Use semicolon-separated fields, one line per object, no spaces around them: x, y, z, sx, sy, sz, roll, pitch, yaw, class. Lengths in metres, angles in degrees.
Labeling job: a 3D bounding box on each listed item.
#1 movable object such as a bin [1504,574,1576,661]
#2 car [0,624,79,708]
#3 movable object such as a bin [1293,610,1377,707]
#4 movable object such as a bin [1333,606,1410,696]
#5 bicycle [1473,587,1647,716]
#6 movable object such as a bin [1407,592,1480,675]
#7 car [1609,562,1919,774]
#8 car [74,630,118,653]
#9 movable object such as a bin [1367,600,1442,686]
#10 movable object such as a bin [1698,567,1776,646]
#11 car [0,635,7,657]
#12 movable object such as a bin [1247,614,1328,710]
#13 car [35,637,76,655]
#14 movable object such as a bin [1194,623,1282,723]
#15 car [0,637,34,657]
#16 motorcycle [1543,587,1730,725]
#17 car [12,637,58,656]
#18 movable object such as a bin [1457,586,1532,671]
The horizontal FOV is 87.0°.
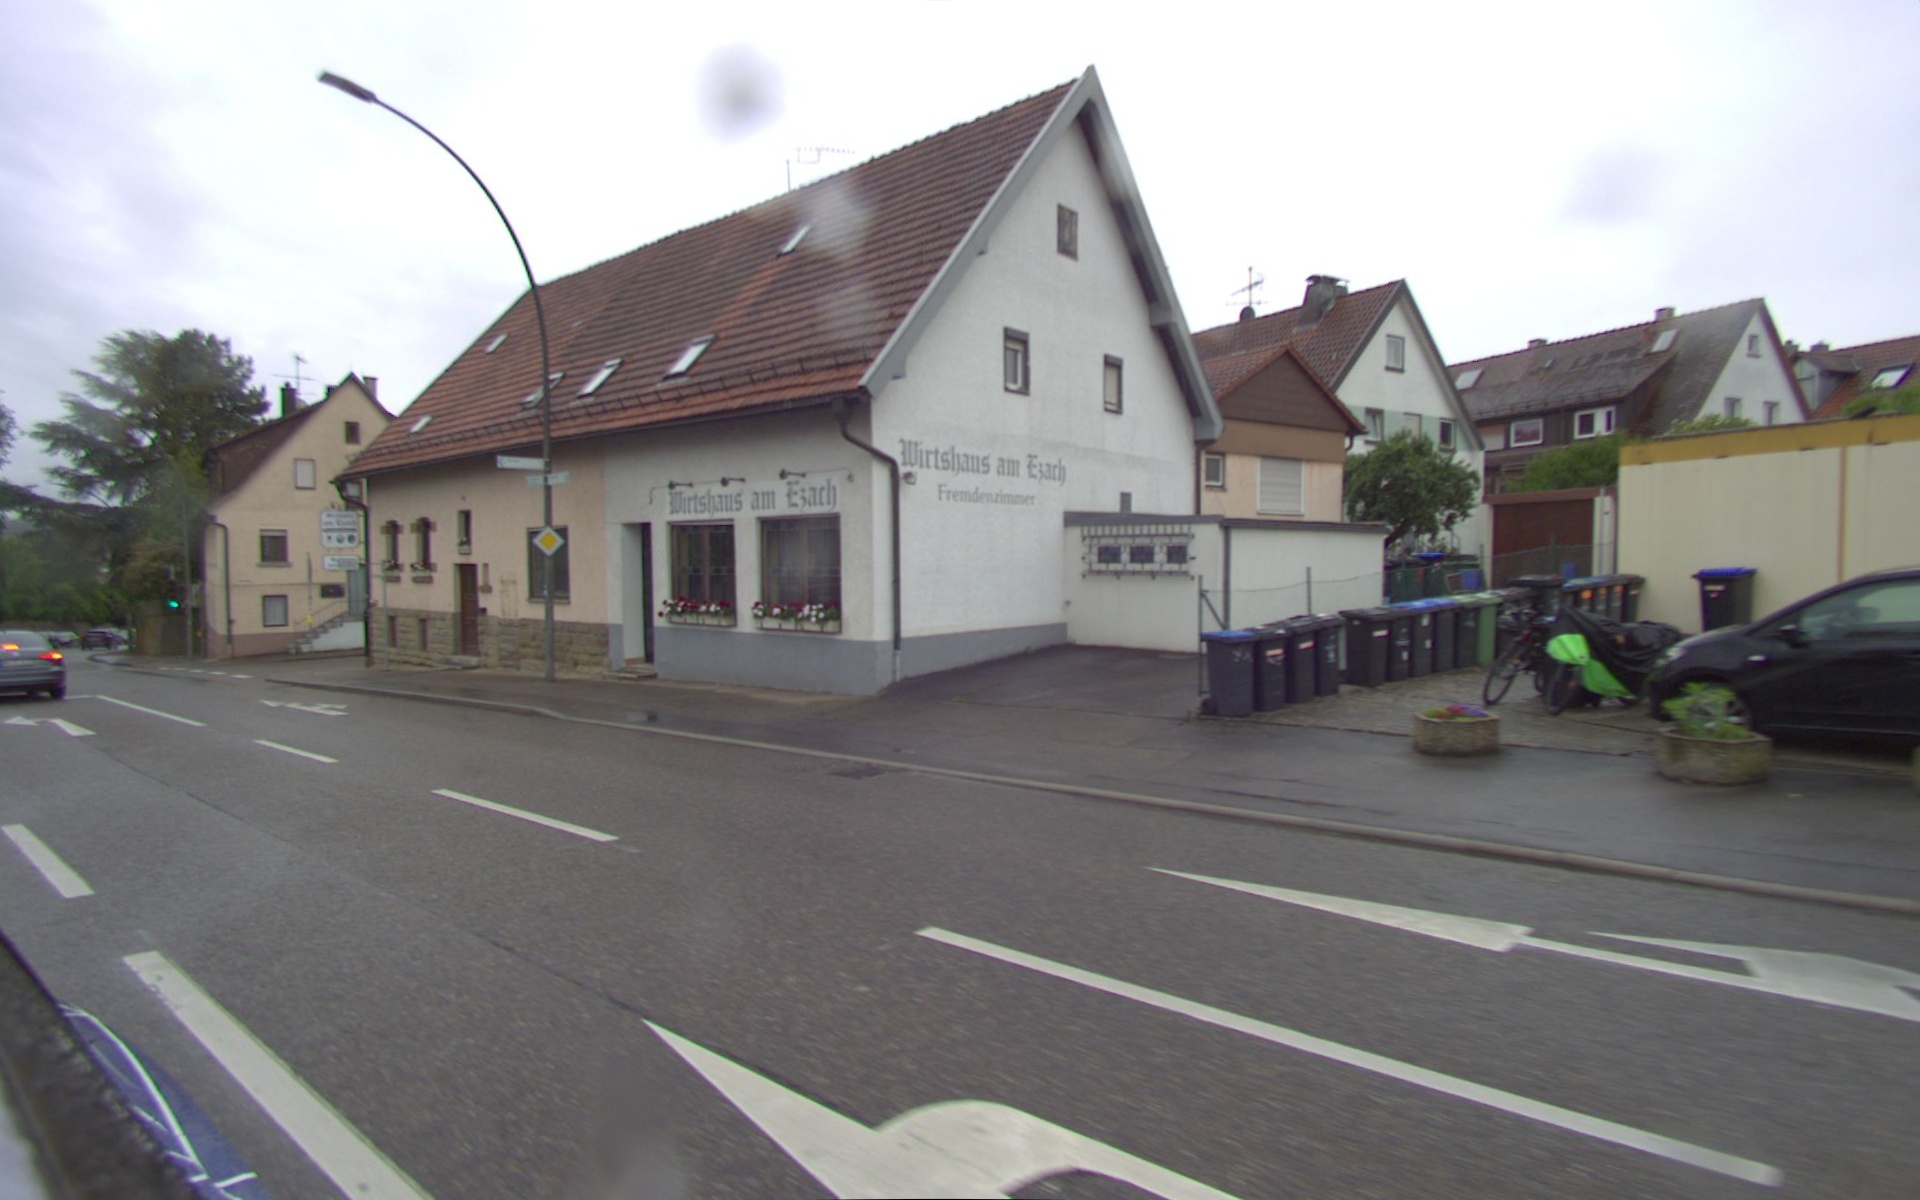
8.093;0.238;14.124;0.630;1.138;0.606;-7;2;-35;movable object such as a bin
-20.036;1.357;21.020;4.221;1.586;1.925;-2;-1;39;car
4.365;0.661;11.785;0.629;1.040;0.606;-5;2;-35;movable object such as a bin
4.965;0.601;12.221;0.629;1.040;0.606;0;-1;-35;movable object such as a bin
6.447;0.498;10.835;2.069;1.122;0.739;-5;4;-32;bicycle
6.253;0.429;13.098;0.629;1.040;0.606;0;-1;-35;movable object such as a bin
7.489;0.453;7.672;1.875;1.453;3.840;-4;1;-30;car
-66.539;3.177;77.990;1.966;1.719;4.012;-1;-1;-31;car
5.563;0.521;12.660;0.629;1.040;0.606;0;-1;-35;movable object such as a bin
10.938;0.094;14.259;0.660;1.087;0.626;0;-1;-26;movable object such as a bin
-67.658;3.220;69.944;1.765;1.544;3.812;0;-2;-29;car
3.712;0.687;11.470;0.629;1.040;0.606;0;-1;-35;movable object such as a bin
-75.805;3.805;84.866;1.735;1.430;4.166;0;-2;-30;car
3.044;0.779;11.084;0.629;1.040;0.675;0;-1;-35;movable object such as a bin
-70.515;3.460;74.893;1.966;1.430;4.498;0;-2;-29;car
6.848;0.506;10.208;2.082;1.122;0.782;-6;4;-32;motorcycle
-73.230;3.644;80.178;1.735;1.430;4.166;0;-2;-28;car
7.160;0.374;13.556;0.630;1.039;0.606;-7;2;-35;movable object such as a bin
